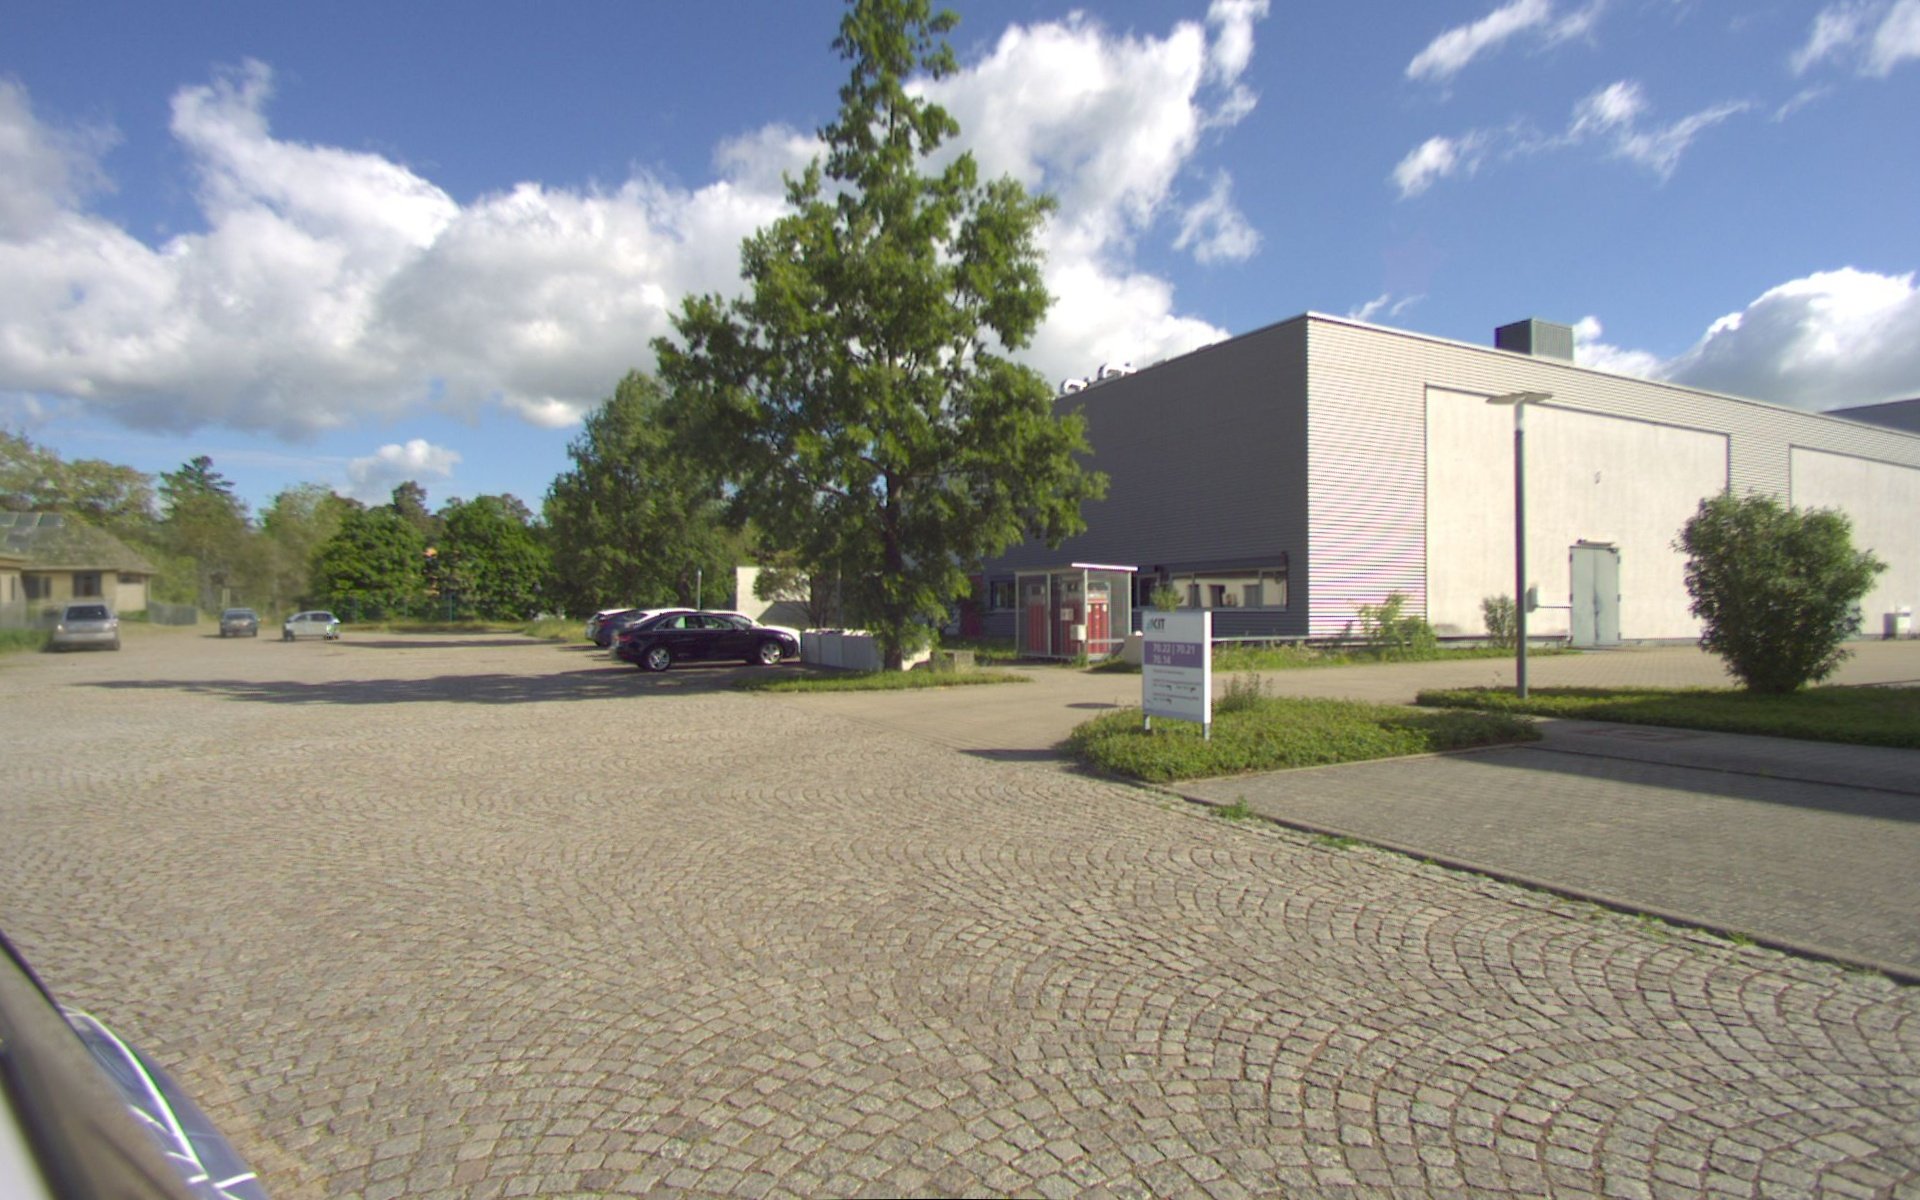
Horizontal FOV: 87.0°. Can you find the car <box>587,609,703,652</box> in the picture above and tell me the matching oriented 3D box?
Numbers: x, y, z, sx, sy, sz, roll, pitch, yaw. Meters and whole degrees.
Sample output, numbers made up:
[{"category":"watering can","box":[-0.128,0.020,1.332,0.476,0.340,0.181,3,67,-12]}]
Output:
[{"category":"car","box":[-11.687,1.104,37.590,3.857,1.428,1.698,-2,0,-27]}]

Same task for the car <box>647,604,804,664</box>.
[{"category":"car","box":[-6.655,0.924,28.687,4.080,1.471,1.697,-2,0,-23]}]

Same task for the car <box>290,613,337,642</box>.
[{"category":"car","box":[-33.919,1.436,53.150,1.663,1.446,3.999,1,-1,-27]}]

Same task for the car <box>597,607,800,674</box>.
[{"category":"car","box":[-6.597,0.970,25.647,4.653,1.434,1.762,-2,0,-29]}]

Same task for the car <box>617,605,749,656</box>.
[{"category":"car","box":[-9.072,0.972,33.142,3.857,1.457,1.761,-2,0,-27]}]

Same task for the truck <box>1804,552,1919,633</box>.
[{"category":"truck","box":[46.688,-0.338,49.323,2.604,3.847,8.129,0,-1,-27]}]

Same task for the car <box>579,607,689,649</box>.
[{"category":"car","box":[-12.887,1.082,40.013,3.857,1.446,1.801,-2,0,-27]}]

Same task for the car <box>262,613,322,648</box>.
[{"category":"car","box":[-29.054,1.317,44.126,1.738,1.446,4.005,1,-1,-27]}]
